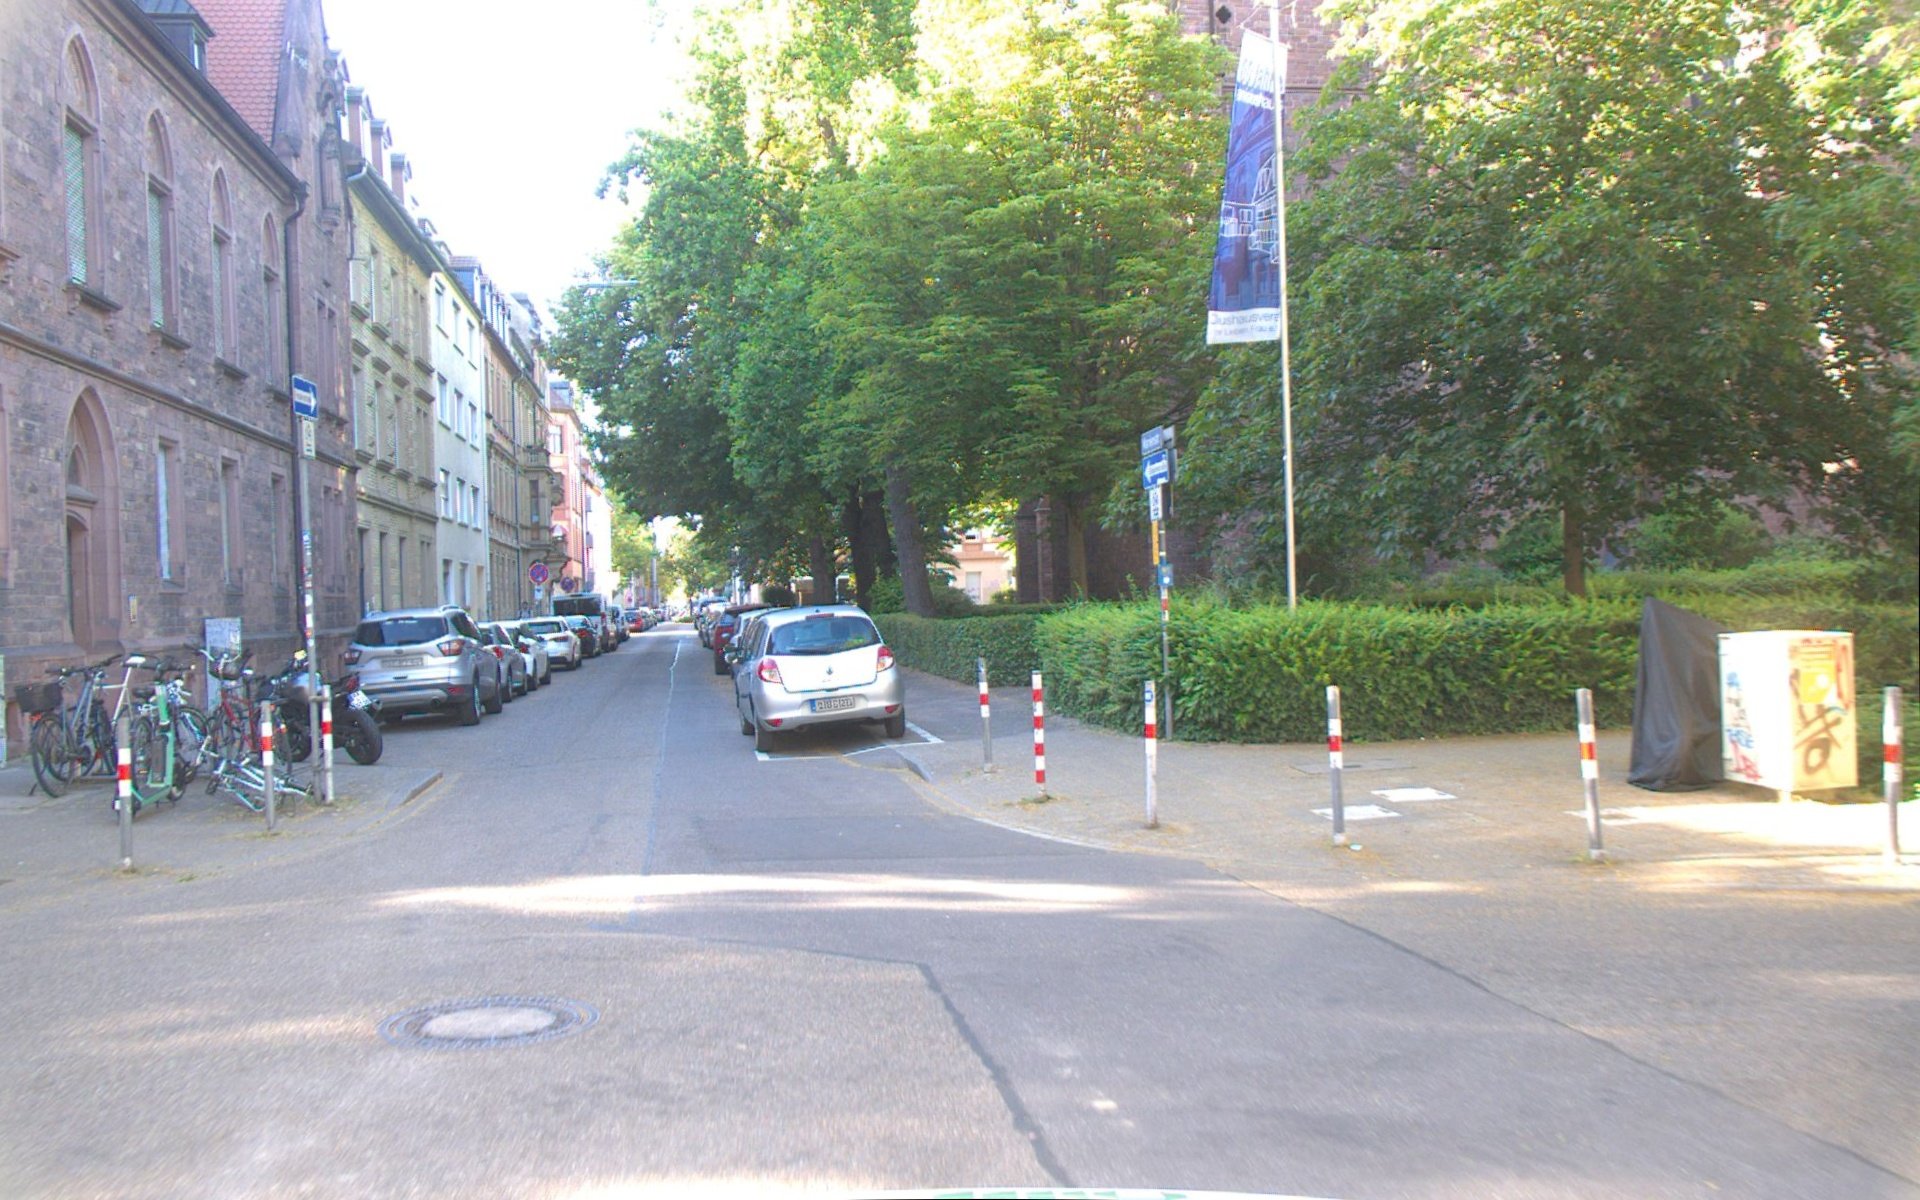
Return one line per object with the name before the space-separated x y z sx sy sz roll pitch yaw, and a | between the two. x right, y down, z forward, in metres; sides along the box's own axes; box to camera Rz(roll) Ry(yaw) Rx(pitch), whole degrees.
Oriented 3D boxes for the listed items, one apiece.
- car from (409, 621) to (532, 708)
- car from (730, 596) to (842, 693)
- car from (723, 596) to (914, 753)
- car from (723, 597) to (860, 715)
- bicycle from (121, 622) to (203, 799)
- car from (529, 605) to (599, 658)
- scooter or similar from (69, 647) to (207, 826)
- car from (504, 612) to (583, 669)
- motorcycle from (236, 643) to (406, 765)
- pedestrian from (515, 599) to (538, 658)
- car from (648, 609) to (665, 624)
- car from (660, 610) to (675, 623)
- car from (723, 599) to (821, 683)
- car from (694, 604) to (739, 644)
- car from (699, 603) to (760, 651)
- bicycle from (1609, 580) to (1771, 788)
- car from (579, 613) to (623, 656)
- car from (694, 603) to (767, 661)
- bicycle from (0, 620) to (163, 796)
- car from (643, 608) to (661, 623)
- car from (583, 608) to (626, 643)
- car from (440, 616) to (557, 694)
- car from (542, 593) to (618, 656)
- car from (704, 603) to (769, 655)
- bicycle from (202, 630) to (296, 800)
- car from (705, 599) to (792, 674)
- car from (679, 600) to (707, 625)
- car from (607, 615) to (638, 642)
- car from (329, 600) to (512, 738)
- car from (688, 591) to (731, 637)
car | -9.058 1.145 30.880 1.694 1.417 3.990 -2 0 -10
car | -3.275 0.787 30.493 1.710 1.601 3.990 -2 0 -10
car | -1.768 0.785 19.438 1.694 1.549 3.988 -3 0 -12
car | -2.613 0.795 24.893 1.692 1.549 3.990 -2 0 -10
bicycle | -7.216 0.947 15.019 0.565 1.448 2.482 -2 0 -25
car | -13.091 1.023 54.882 1.958 1.601 3.990 -3 0 -10
scooter or similar | -6.532 1.052 13.192 0.519 1.299 1.299 -2 0 -6
car | -11.241 1.060 44.884 1.739 1.377 3.990 -2 0 -10
motorcycle | -7.033 1.131 18.150 2.267 1.228 0.663 -3 -1 39
pedestrian | -15.212 1.002 58.045 0.674 2.049 0.688 -2 -1 -17
car | -38.028 2.066 207.033 1.957 1.676 3.990 -3 0 -10
car | -40.557 2.229 229.084 1.957 1.676 3.990 -3 0 -10
car | -4.106 0.831 35.605 1.808 1.624 3.990 -2 0 -10
car | -10.526 1.025 71.374 1.761 1.601 3.990 -2 0 -10
car | -8.418 0.967 60.177 1.958 1.601 3.990 -3 0 -10
bicycle | 5.624 0.592 12.663 0.761 1.394 2.119 -3 0 33
car | -16.185 1.535 74.658 1.761 1.601 3.991 -2 3 -10
car | -6.973 0.946 49.997 1.958 1.601 3.990 -3 0 -10
bicycle | -8.165 0.926 15.335 0.671 1.448 2.790 -2 0 -11
car | -36.927 1.871 198.535 1.957 1.676 3.990 -3 0 -10
car | -17.638 1.250 82.207 1.868 1.601 3.990 -3 0 -10
car | -9.790 1.135 35.325 1.847 1.435 3.992 -4 0 -9
car | -14.153 0.890 61.912 2.266 2.151 5.159 -3 0 -8
car | -7.566 0.968 55.760 1.958 1.601 3.990 -3 0 -10
bicycle | -6.416 0.971 14.864 0.674 1.368 2.483 -2 0 -25
car | -5.202 0.860 40.306 1.860 1.653 3.990 -2 0 -10
car | -20.501 0.943 126.922 1.957 1.758 3.991 -3 0 -10
car | -22.695 1.905 111.254 1.915 1.739 3.989 -2 0 -11
car | -7.888 0.958 24.544 1.847 1.736 3.992 -4 0 -9
car | -13.600 0.761 89.630 2.122 2.295 4.514 -2 0 -11
